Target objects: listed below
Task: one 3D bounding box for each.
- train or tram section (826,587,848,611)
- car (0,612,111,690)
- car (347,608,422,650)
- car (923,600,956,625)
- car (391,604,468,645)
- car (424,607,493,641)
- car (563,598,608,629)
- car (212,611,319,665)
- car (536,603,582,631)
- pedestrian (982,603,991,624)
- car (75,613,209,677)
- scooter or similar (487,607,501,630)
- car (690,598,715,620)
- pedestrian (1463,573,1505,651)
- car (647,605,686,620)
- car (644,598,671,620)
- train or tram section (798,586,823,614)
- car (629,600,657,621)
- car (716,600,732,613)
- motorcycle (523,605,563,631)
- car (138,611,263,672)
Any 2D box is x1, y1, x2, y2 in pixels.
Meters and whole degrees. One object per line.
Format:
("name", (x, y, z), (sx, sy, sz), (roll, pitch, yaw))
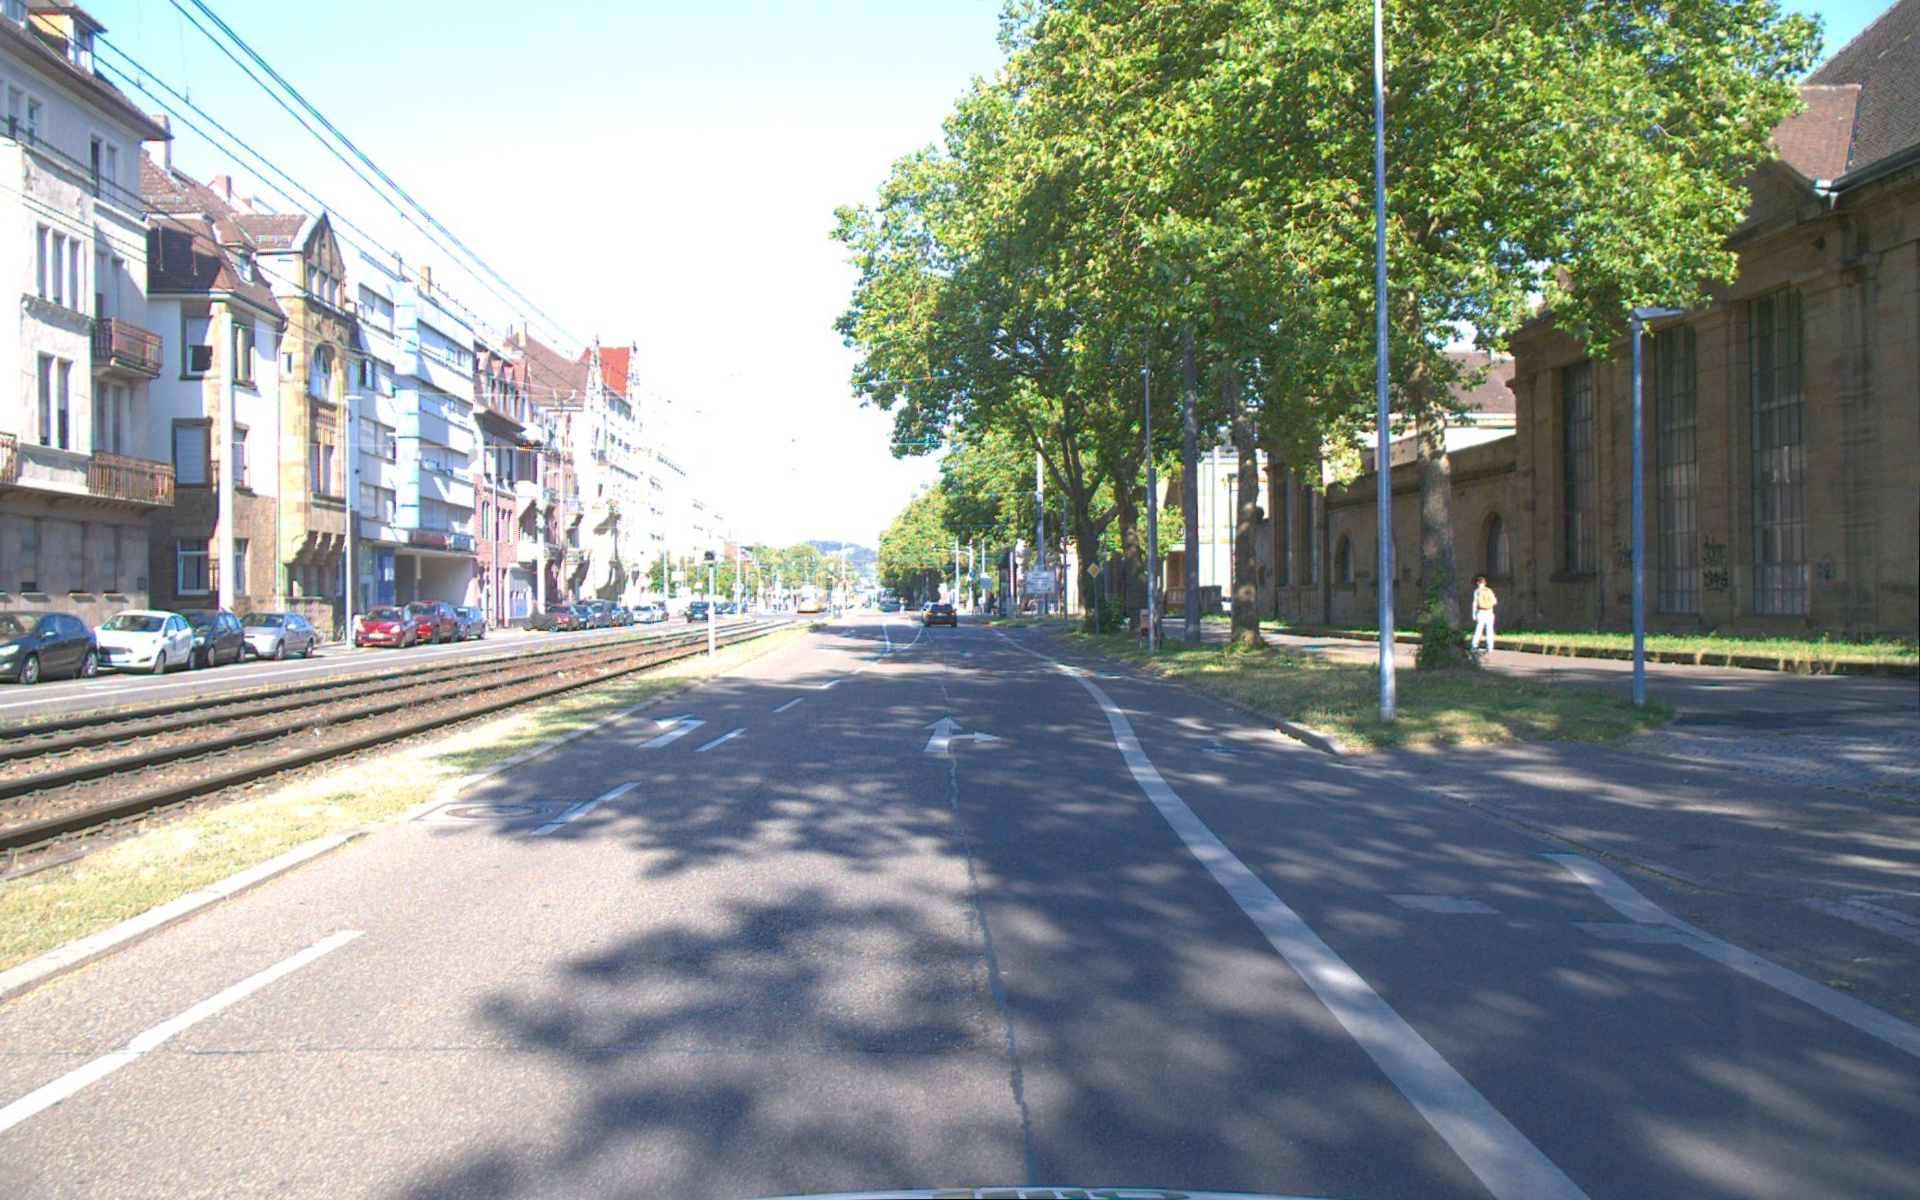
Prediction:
("train or tram section", (-18.408, -0.128, 248.019), (2.768, 3.511, 9.060), (-1, 0, -2))
("car", (-20.162, 1.054, 35.736), (1.603, 1.494, 4.156), (2, 0, -3))
("car", (-21.385, 1.051, 61.631), (1.799, 1.415, 4.029), (2, 0, -7))
("car", (-1.254, 0.742, 98.165), (1.797, 1.415, 4.156), (0, 0, -3))
("car", (-21.469, 0.970, 67.107), (1.796, 1.585, 4.351), (1, 0, -2))
("car", (-21.892, 1.021, 72.353), (1.797, 1.415, 4.679), (0, 0, -3))
("car", (-23.391, 0.835, 103.471), (1.757, 1.784, 4.455), (2, 0, 0))
("car", (-20.853, 1.106, 49.818), (1.602, 1.494, 4.157), (1, 0, -2))
("car", (-23.008, 0.957, 95.004), (1.759, 1.485, 4.263), (2, 0, -4))
("pedestrian", (2.154, 1.112, 135.654), (0.575, 1.758, 0.650), (1, 0, 10))
("car", (-19.881, 1.066, 40.378), (1.603, 1.494, 3.978), (1, -1, -6))
("scooter or similar", (-25.535, 1.010, 90.634), (0.383, 1.226, 1.200), (2, -1, -2))
("car", (-19.800, 0.670, 127.283), (1.603, 1.629, 4.155), (-2, 0, -5))
("pedestrian", (11.921, 0.276, 37.621), (0.596, 1.711, 0.635), (-5, 0, -5))
("car", (-32.267, 1.337, 181.748), (3.902, 1.537, 1.801), (1, -1, 6))
("car", (-25.505, 0.717, 139.492), (1.759, 1.749, 4.181), (2, 0, -4))
("train or tram section", (-19.531, 0.031, 216.302), (2.769, 3.511, 9.059), (-1, 0, -3))
("car", (-24.617, 0.805, 128.475), (1.760, 1.536, 3.994), (2, 0, -7))
("car", (-29.275, 0.792, 205.342), (1.759, 1.537, 3.996), (-1, 0, -5))
("motorcycle", (-23.093, 0.994, 91.642), (2.036, 1.350, 0.836), (2, 0, -19))
("car", (-20.396, 1.088, 44.605), (1.602, 1.494, 4.156), (2, 0, -3))
